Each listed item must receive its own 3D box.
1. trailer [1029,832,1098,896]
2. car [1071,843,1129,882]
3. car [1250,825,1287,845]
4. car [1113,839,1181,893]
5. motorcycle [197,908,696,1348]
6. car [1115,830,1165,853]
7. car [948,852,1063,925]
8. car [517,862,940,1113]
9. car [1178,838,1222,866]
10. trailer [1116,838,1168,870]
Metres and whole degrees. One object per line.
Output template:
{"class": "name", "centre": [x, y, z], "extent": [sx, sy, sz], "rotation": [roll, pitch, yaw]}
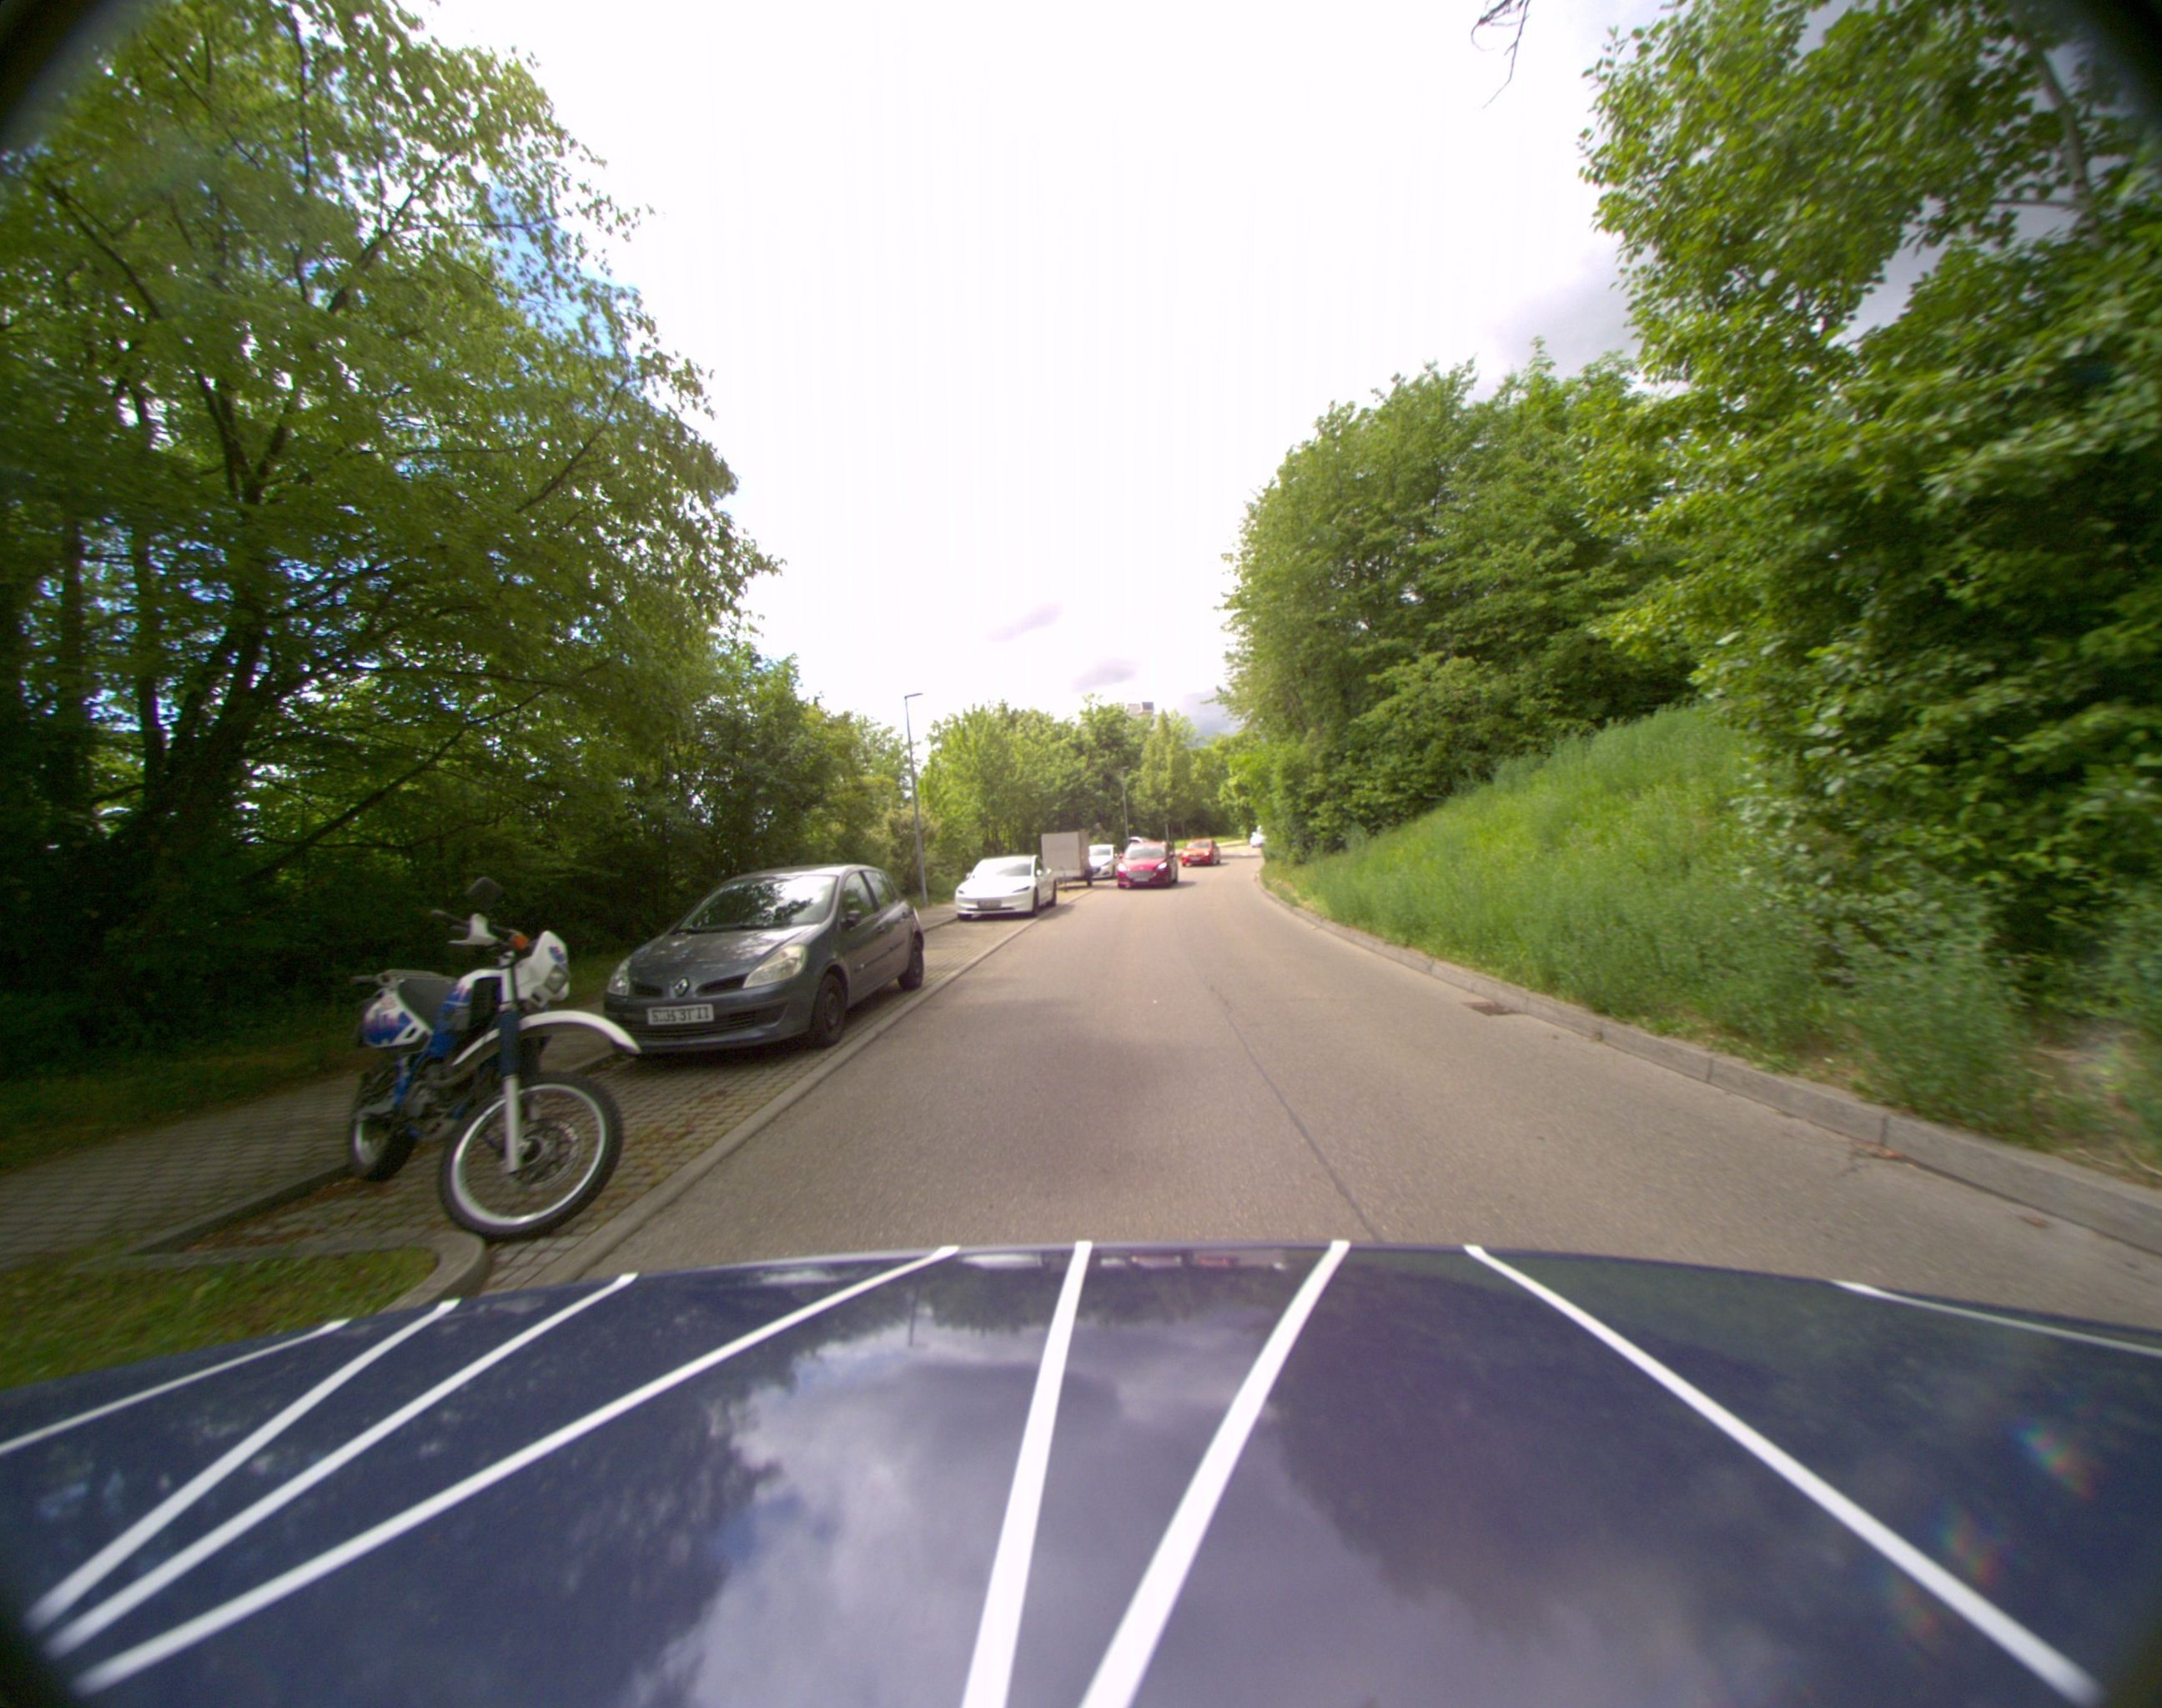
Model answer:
{"class": "trailer", "centre": [-0.566, 0.291, 27.657], "extent": [1.733, 2.067, 3.784], "rotation": [-2, 2, 9]}
{"class": "car", "centre": [0.912, 0.341, 33.557], "extent": [1.708, 1.469, 3.786], "rotation": [-2, 2, 14]}
{"class": "car", "centre": [15.385, -1.562, 62.240], "extent": [1.793, 1.500, 4.120], "rotation": [-3, 1, 30]}
{"class": "car", "centre": [2.542, 0.362, 28.055], "extent": [1.910, 1.689, 4.389], "rotation": [-1, 3, 12]}
{"class": "motorcycle", "centre": [-3.080, 1.043, 3.653], "extent": [2.307, 1.467, 0.977], "rotation": [-2, 1, 28]}
{"class": "car", "centre": [4.609, -0.979, 59.914], "extent": [3.478, 1.509, 1.654], "rotation": [-2, 4, 38]}
{"class": "car", "centre": [-1.730, 0.765, 19.222], "extent": [1.866, 1.468, 4.903], "rotation": [-2, 1, 6]}
{"class": "car", "centre": [-2.822, 0.957, 7.276], "extent": [1.773, 1.509, 4.108], "rotation": [-4, 1, 5]}
{"class": "car", "centre": [6.718, -0.126, 42.514], "extent": [1.793, 1.405, 4.117], "rotation": [-1, 2, 17]}
{"class": "trailer", "centre": [3.493, -0.041, 42.757], "extent": [1.812, 1.570, 4.494], "rotation": [-2, 2, 18]}
